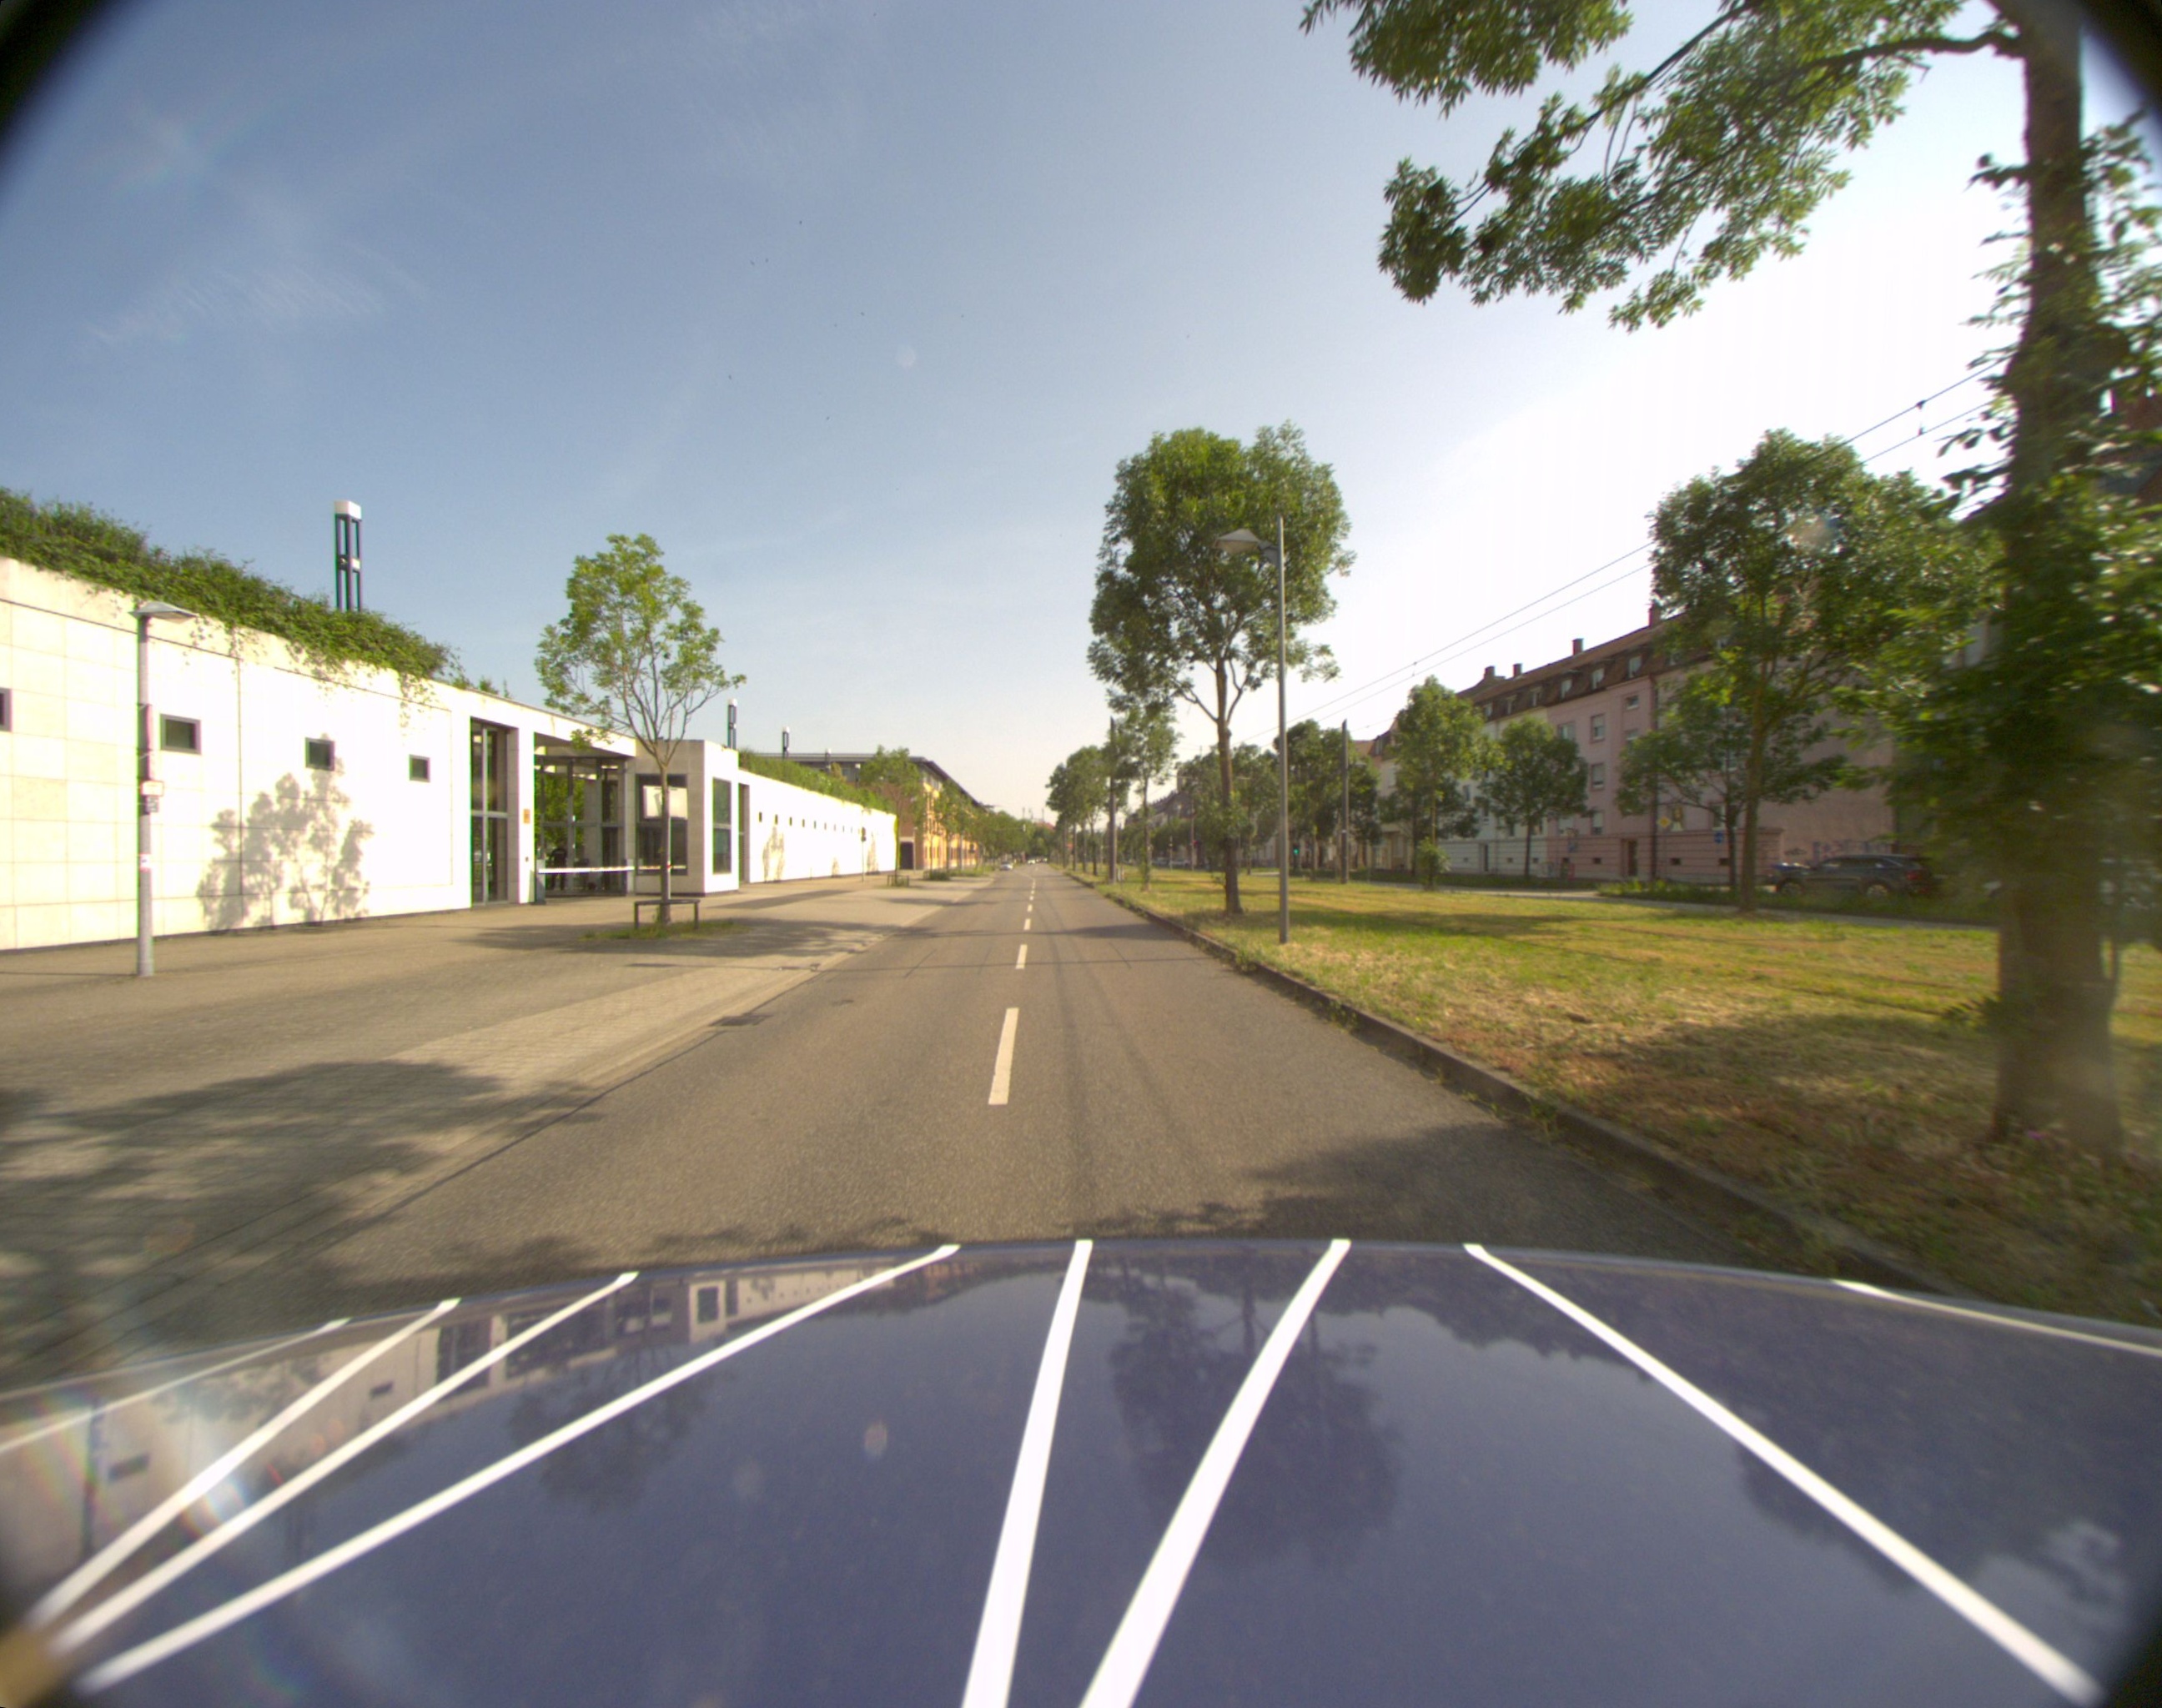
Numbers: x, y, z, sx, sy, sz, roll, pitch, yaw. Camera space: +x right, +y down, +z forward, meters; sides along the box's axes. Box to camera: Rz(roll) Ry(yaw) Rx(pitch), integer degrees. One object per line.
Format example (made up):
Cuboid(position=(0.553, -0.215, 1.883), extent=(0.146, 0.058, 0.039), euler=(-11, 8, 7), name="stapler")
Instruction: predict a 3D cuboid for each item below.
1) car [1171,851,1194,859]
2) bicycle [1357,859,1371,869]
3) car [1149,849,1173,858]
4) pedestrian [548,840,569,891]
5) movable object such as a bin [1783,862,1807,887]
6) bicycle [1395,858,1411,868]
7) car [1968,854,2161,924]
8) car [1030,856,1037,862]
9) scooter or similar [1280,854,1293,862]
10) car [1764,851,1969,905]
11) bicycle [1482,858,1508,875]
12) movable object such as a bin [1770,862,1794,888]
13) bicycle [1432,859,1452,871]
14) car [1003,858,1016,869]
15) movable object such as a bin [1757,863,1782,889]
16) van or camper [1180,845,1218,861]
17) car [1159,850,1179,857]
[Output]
Cuboid(position=(19.004, 0.149, 142.409), extent=(4.004, 1.309, 1.665), euler=(-2, 1, 31), name="car")
Cuboid(position=(27.381, 0.946, 73.584), extent=(0.469, 0.884, 1.946), euler=(-3, 1, -4), name="bicycle")
Cuboid(position=(17.728, -0.065, 168.818), extent=(4.939, 1.716, 1.860), euler=(-2, 1, 31), name="car")
Cuboid(position=(-19.578, 0.417, 28.463), extent=(0.558, 1.862, 0.592), euler=(-3, 4, -37), name="pedestrian")
Cuboid(position=(35.069, 1.011, 37.327), extent=(0.587, 1.204, 0.640), euler=(-3, 1, -4), name="movable object such as a bin")
Cuboid(position=(27.911, 0.756, 65.913), extent=(0.438, 0.784, 1.946), euler=(-3, 1, -4), name="bicycle")
Cuboid(position=(27.282, 0.857, 20.423), extent=(1.895, 1.619, 4.154), euler=(-2, 0, -3), name="car")
Cuboid(position=(-12.546, 1.357, 199.252), extent=(1.693, 1.476, 3.364), euler=(-3, 1, -4), name="car")
Cuboid(position=(26.515, 0.525, 97.964), extent=(0.743, 1.062, 1.485), euler=(-3, 1, -24), name="scooter or similar")
Cuboid(position=(27.067, 0.740, 26.473), extent=(1.999, 1.619, 4.772), euler=(-2, 0, -5), name="car")
Cuboid(position=(28.525, 0.859, 52.371), extent=(0.605, 1.121, 1.946), euler=(-3, 1, -4), name="bicycle")
Cuboid(position=(34.387, 1.014, 37.283), extent=(0.587, 1.204, 0.640), euler=(-3, 1, -4), name="movable object such as a bin")
Cuboid(position=(28.239, 0.852, 59.468), extent=(0.448, 0.852, 1.946), euler=(-3, 1, -4), name="bicycle")
Cuboid(position=(-10.114, 1.322, 107.267), extent=(1.629, 1.476, 3.364), euler=(-3, 1, -4), name="car")
Cuboid(position=(33.748, 1.072, 37.240), extent=(0.587, 1.204, 0.640), euler=(-3, 1, -4), name="movable object such as a bin")
Cuboid(position=(20.136, -0.194, 129.345), extent=(5.910, 2.559, 2.203), euler=(-2, 1, 31), name="van or camper")
Cuboid(position=(18.086, -0.047, 155.552), extent=(3.677, 1.234, 1.665), euler=(-2, 1, 32), name="car")
